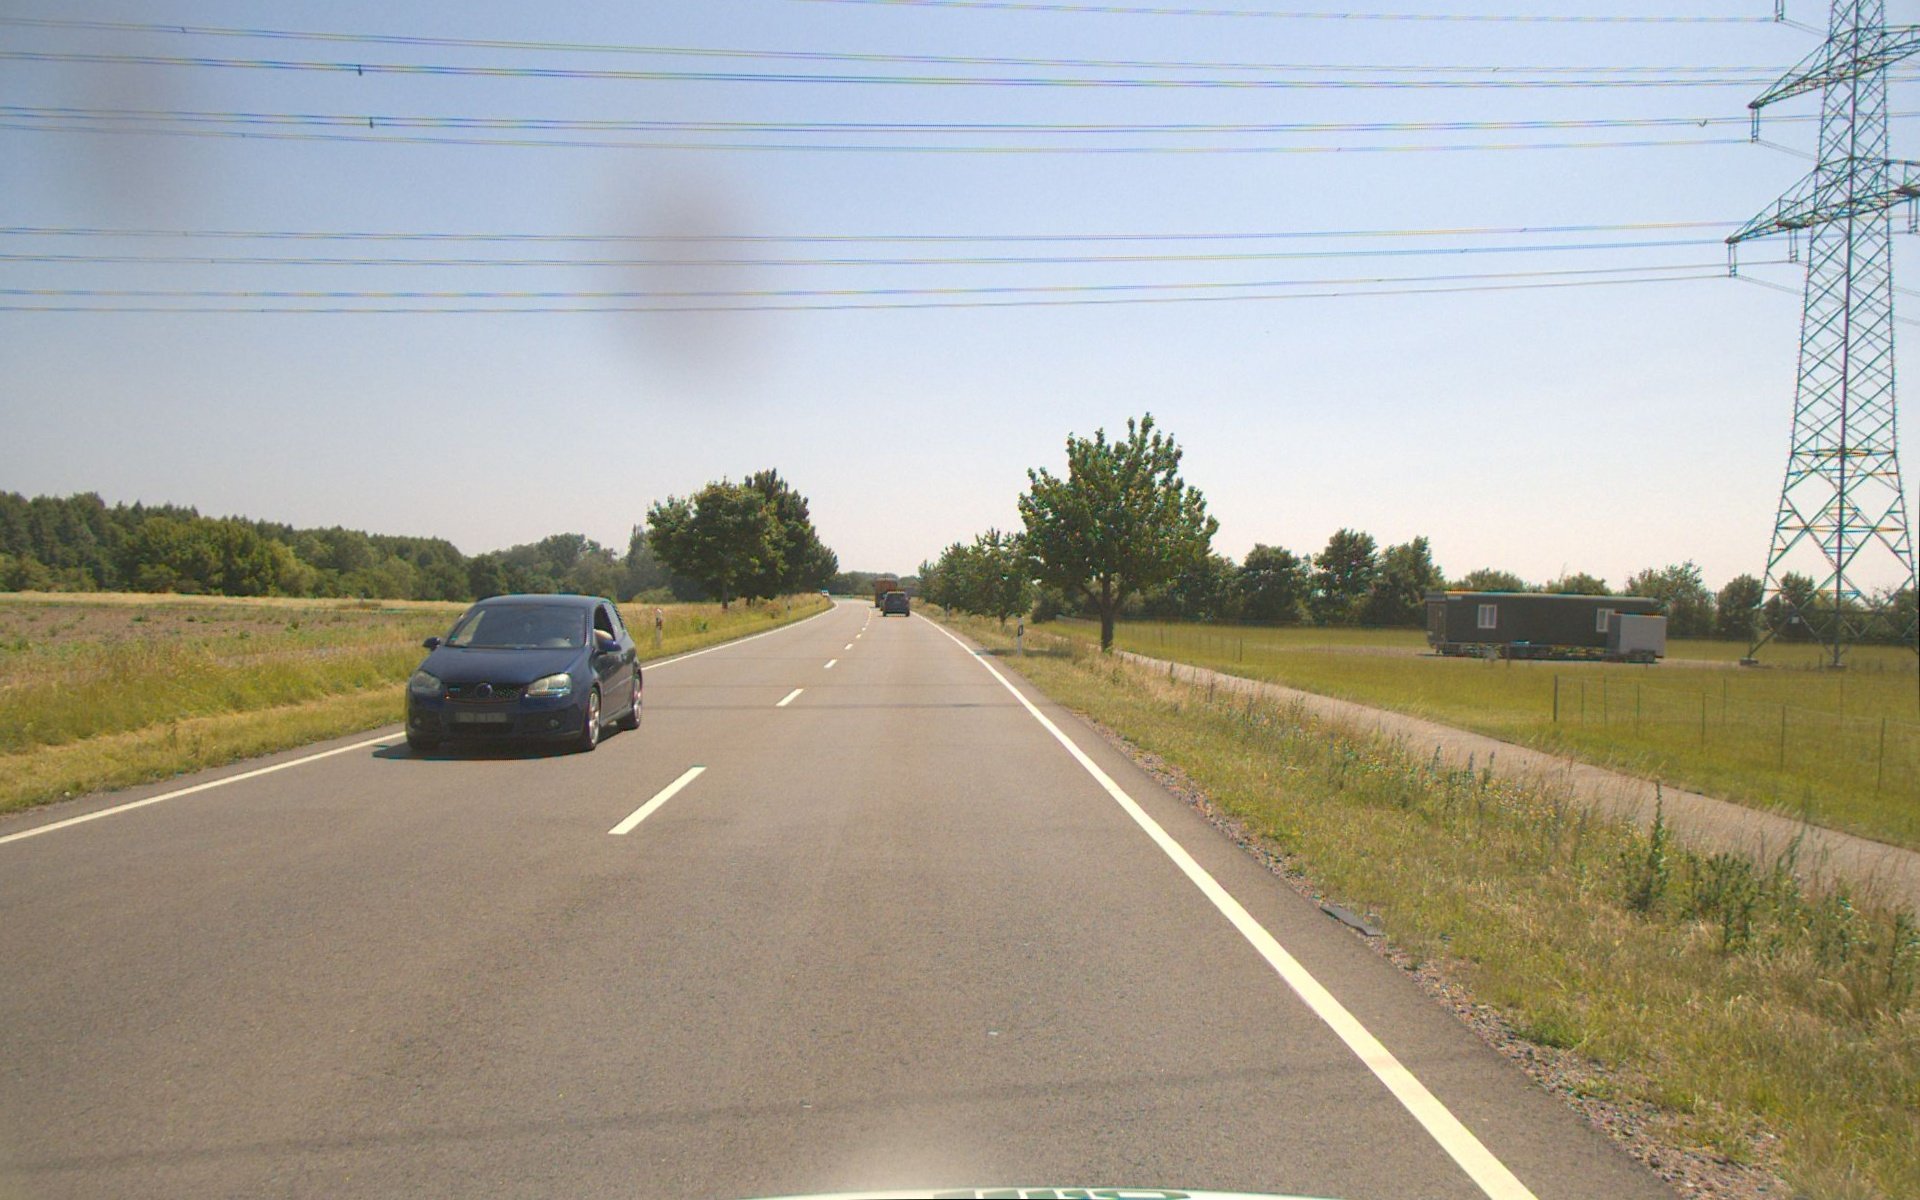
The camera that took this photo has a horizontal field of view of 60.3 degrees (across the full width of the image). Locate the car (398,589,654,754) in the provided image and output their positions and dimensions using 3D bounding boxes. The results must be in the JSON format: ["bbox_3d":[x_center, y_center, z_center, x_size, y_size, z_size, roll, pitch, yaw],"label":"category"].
[{"bbox_3d":[-4.281,0.652,16.913,1.700,1.472,3.998,1,0,-3],"label":"car"}]

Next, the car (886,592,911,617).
[{"bbox_3d":[-4.264,0.315,114.891,1.680,1.723,3.986,1,0,-3],"label":"car"}]

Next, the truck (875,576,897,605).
[{"bbox_3d":[-8.377,-1.008,186.831,2.324,3.195,8.741,1,0,-4],"label":"truck"}]

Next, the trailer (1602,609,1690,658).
[{"bbox_3d":[37.068,1.778,89.443,3.910,2.485,1.998,2,0,-6],"label":"trailer"}]

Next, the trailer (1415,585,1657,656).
[{"bbox_3d":[32.007,1.115,92.188,12.165,3.533,3.802,2,0,-4],"label":"trailer"}]
